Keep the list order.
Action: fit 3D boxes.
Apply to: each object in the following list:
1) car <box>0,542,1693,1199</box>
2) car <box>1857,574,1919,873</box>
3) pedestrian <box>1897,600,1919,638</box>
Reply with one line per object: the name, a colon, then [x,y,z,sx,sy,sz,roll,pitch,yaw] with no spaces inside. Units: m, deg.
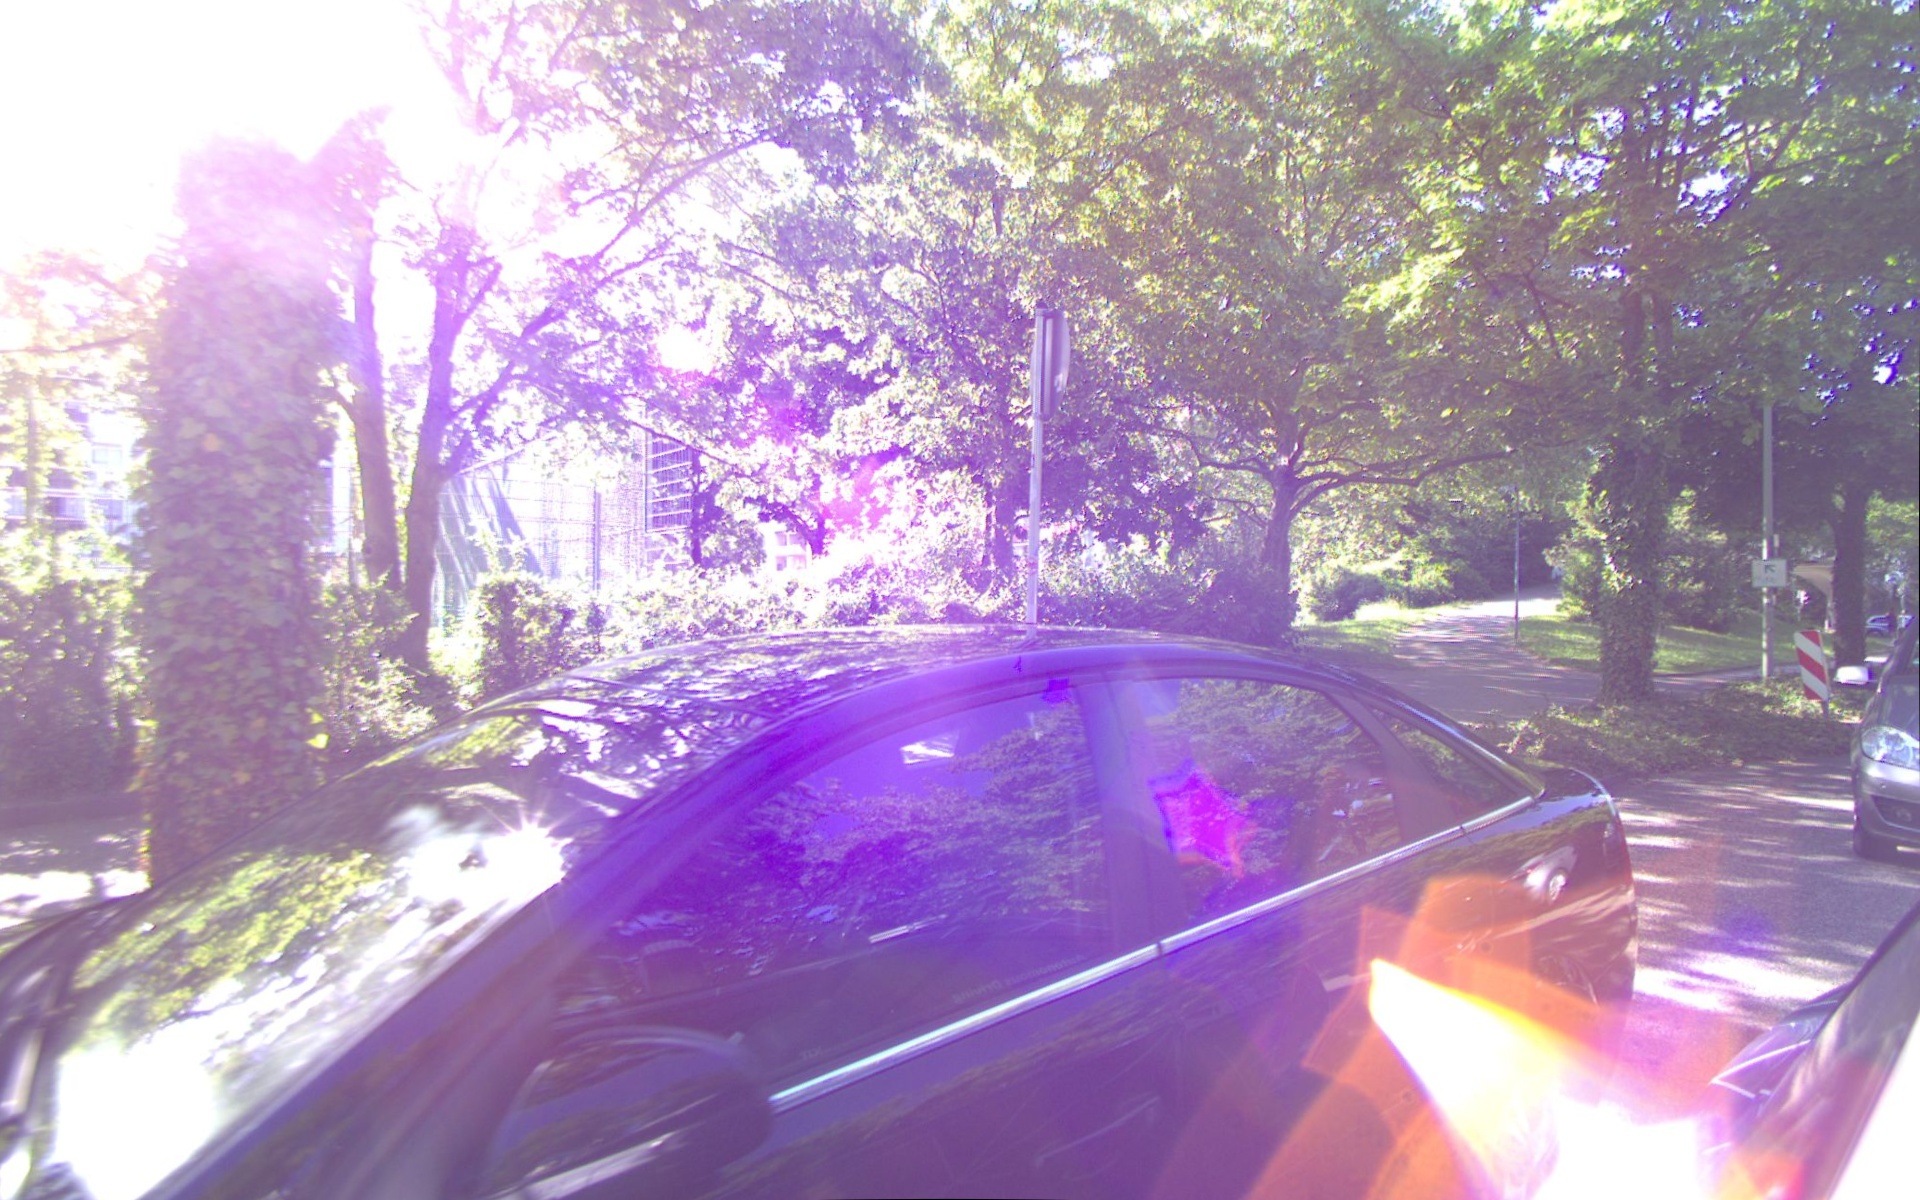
car: [-0.385,0.717,1.870,3.956,1.499,1.753,0,-1,-38]
car: [7.028,0.673,6.333,3.932,1.607,1.732,1,-1,-43]
pedestrian: [46.893,0.932,49.998,0.659,1.855,0.792,1,-1,-39]
